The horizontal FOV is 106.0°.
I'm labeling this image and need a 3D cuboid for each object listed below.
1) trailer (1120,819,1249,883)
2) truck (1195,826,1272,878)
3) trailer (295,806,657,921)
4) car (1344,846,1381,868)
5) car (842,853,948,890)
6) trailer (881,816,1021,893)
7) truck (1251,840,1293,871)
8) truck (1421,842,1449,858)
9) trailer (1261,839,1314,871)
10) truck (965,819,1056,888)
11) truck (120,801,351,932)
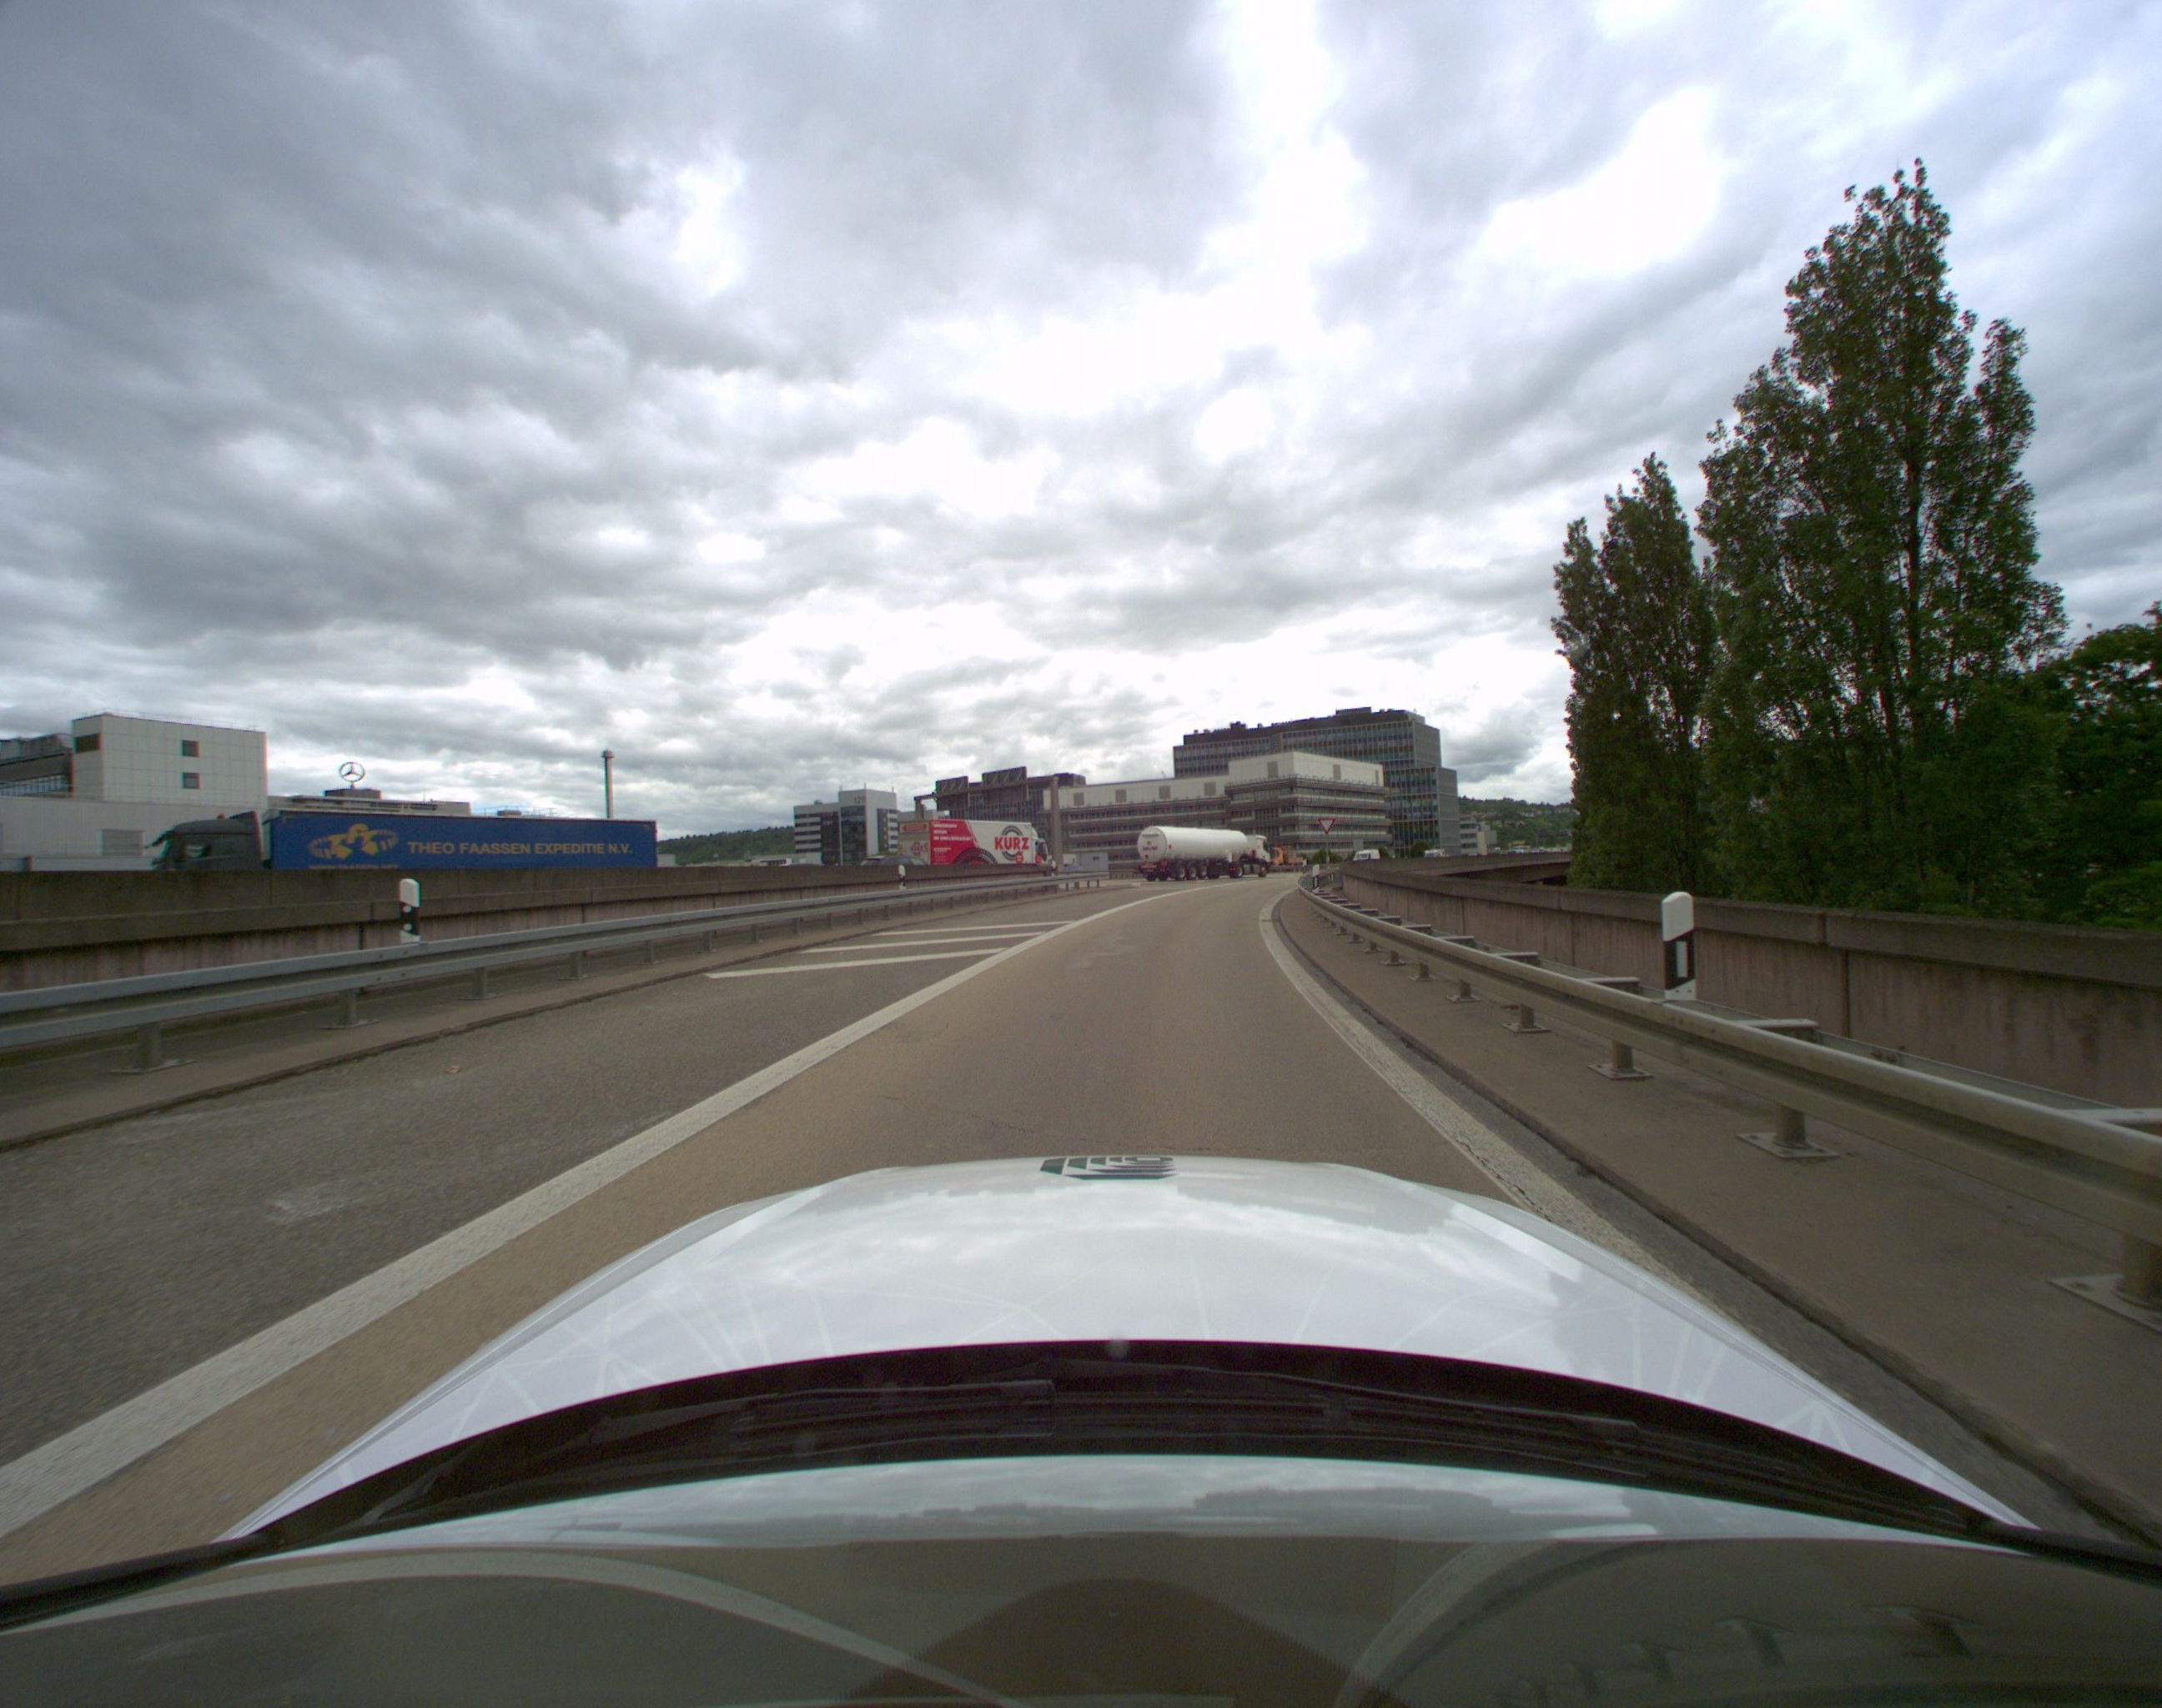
[{"bbox_3d":[7.099,-0.227,53.565,2.765,3.737,11.225,-3,-2,39],"label":"trailer"},{"bbox_3d":[10.961,-0.150,58.308,2.742,3.430,6.003,-3,-2,39],"label":"truck"},{"bbox_3d":[-26.288,0.357,36.542,3.130,4.347,12.597,-3,-2,39],"label":"trailer"},{"bbox_3d":[37.329,0.380,107.768,2.553,2.644,6.230,-2,-1,39],"label":"car"},{"bbox_3d":[-7.976,0.715,35.256,1.829,1.505,4.292,0,0,39],"label":"car"},{"bbox_3d":[-6.688,0.032,42.991,2.664,3.690,7.359,-3,-2,38],"label":"trailer"},{"bbox_3d":[22.456,0.120,95.648,2.715,3.480,5.138,-3,-2,38],"label":"truck"},{"bbox_3d":[63.279,-0.765,145.513,2.467,2.627,7.394,-3,-2,41],"label":"truck"},{"bbox_3d":[25.315,0.057,99.385,2.707,3.637,9.416,-3,-1,37],"label":"trailer"},{"bbox_3d":[-3.974,0.000,46.461,2.664,3.690,4.467,-3,-2,38],"label":"truck"},{"bbox_3d":[-31.317,0.453,30.317,3.131,4.347,5.730,-3,-2,40],"label":"truck"}]
